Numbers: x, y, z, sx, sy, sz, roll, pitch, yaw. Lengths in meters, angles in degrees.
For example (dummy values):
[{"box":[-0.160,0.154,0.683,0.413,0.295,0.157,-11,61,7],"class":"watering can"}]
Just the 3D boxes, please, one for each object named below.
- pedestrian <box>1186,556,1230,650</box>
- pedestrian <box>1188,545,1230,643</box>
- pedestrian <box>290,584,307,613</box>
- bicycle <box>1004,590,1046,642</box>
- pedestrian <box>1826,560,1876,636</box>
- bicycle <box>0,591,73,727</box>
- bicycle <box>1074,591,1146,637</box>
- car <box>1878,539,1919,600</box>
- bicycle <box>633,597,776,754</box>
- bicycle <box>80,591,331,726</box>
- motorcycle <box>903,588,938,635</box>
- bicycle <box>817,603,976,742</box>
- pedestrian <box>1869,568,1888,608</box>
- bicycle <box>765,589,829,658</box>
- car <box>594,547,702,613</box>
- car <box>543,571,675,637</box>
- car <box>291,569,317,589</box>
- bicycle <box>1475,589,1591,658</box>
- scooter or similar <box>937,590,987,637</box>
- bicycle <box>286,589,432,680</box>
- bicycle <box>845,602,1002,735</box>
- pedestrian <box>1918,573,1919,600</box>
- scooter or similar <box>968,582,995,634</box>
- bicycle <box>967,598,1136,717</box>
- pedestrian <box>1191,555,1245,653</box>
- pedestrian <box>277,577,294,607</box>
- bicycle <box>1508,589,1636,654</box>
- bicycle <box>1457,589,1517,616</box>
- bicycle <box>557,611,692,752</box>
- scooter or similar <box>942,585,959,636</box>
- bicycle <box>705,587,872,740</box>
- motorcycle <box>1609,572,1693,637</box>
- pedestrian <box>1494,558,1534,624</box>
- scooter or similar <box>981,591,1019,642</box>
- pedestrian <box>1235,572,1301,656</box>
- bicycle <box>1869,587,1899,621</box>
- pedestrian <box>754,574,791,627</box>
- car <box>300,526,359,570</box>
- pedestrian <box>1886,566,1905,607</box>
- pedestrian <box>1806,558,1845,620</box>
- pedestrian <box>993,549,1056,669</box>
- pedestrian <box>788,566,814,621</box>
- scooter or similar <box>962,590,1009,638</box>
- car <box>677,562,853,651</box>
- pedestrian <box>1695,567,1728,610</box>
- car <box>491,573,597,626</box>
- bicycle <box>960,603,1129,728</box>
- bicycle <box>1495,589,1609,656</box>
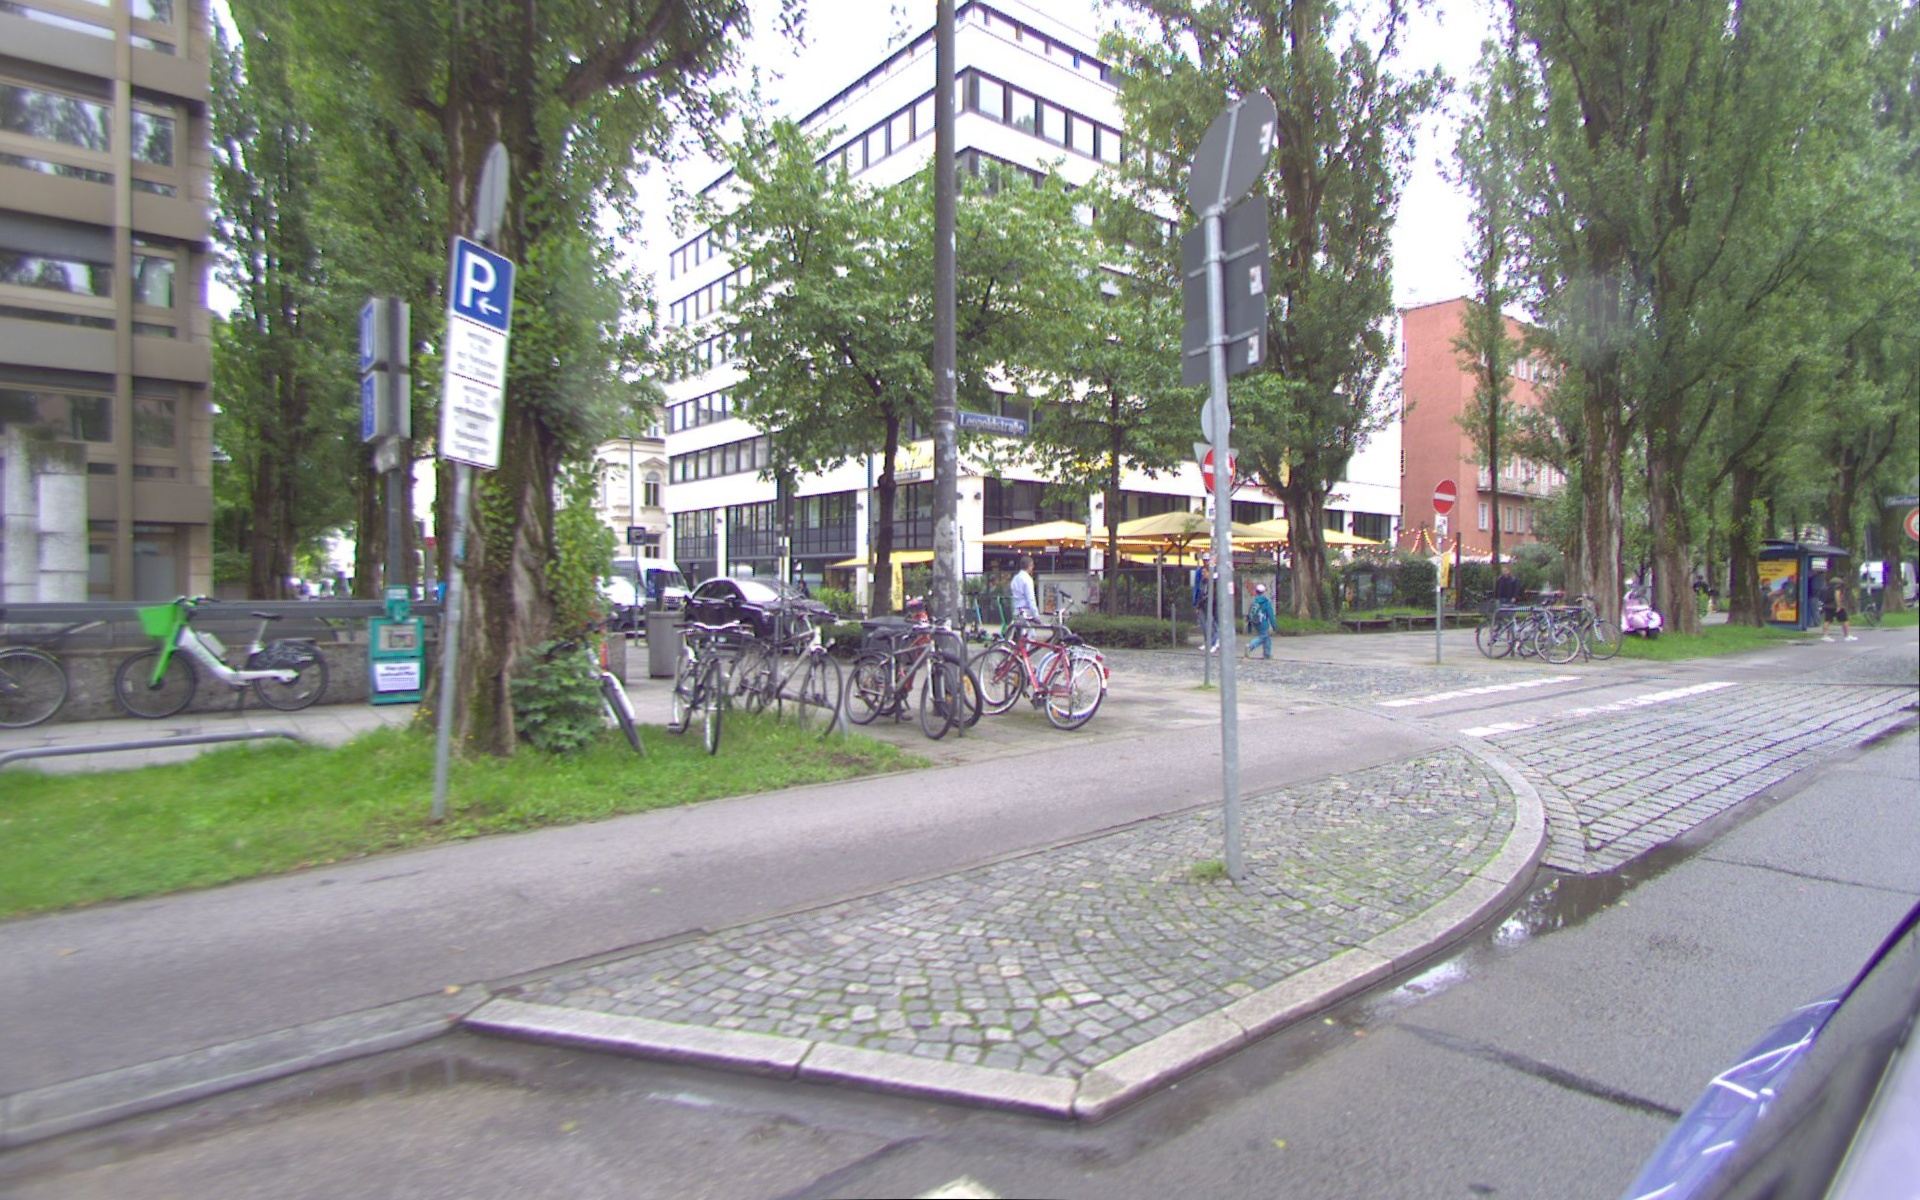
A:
[{"box":[4.763,0.051,19.413,0.696,1.749,0.639,0,1,27],"class":"pedestrian"},{"box":[5.002,-0.125,20.291,0.696,1.932,0.639,0,1,27],"class":"pedestrian"},{"box":[-36.172,-0.063,55.324,0.635,1.557,0.707,-1,-1,-43],"class":"pedestrian"},{"box":[1.545,0.358,23.714,0.547,1.157,1.752,0,1,19],"class":"bicycle"},{"box":[21.292,-0.059,24.182,0.692,1.795,0.752,-1,1,-35],"class":"pedestrian"},{"box":[-8.901,0.525,8.712,0.585,1.174,1.841,0,1,42],"class":"bicycle"},{"box":[3.519,0.318,23.910,0.544,1.035,1.760,-1,1,-41],"class":"bicycle"},{"box":[49.710,-1.580,52.687,5.896,3.055,2.196,-1,1,-41],"class":"car"},{"box":[-2.057,0.524,7.968,0.503,1.051,1.834,-1,2,-34],"class":"bicycle"},{"box":[-7.116,0.510,9.659,1.831,1.174,0.588,-1,1,-27],"class":"bicycle"},{"box":[-1.032,0.293,27.000,0.757,1.211,1.990,1,0,2],"class":"motorcycle"},{"box":[-0.624,0.592,9.156,0.467,1.063,1.876,-1,2,-37],"class":"bicycle"},{"box":[39.699,-0.532,43.730,0.477,1.714,0.517,-1,1,-35],"class":"pedestrian"},{"box":[-2.931,0.386,18.033,0.466,1.151,1.878,0,1,-31],"class":"bicycle"},{"box":[-12.859,-0.794,41.451,2.030,2.522,5.839,1,0,-41],"class":"car"},{"box":[-10.104,0.051,28.933,1.985,1.721,4.665,-2,2,-41],"class":"car"},{"box":[-83.423,-2.657,128.649,2.053,2.463,5.601,-1,1,-41],"class":"car"},{"box":[9.826,0.378,17.419,0.482,1.107,1.703,-1,1,-34],"class":"bicycle"},{"box":[0.053,0.347,26.362,1.235,1.195,0.388,0,1,19],"class":"scooter or similar"},{"box":[-9.159,0.488,15.458,1.835,1.292,0.721,-1,1,-38],"class":"bicycle"},{"box":[-0.389,0.585,9.492,0.467,1.063,1.876,-1,2,-37],"class":"bicycle"},{"box":[61.417,-0.868,64.140,0.753,1.714,0.890,-1,1,-35],"class":"pedestrian"},{"box":[0.551,0.187,26.074,0.323,1.289,1.243,0,1,19],"class":"scooter or similar"},{"box":[0.888,0.539,10.340,0.468,1.063,1.872,-1,2,-44],"class":"bicycle"},{"box":[4.656,0.061,18.271,0.676,1.722,0.665,0,1,-24],"class":"pedestrian"},{"box":[-34.748,-0.404,52.162,0.525,1.549,0.540,0,1,27],"class":"pedestrian"},{"box":[11.116,0.356,18.462,0.482,1.107,1.984,-1,1,-34],"class":"bicycle"},{"box":[18.775,0.064,36.055,0.609,0.924,1.799,-1,1,-41],"class":"bicycle"},{"box":[-2.497,0.536,7.395,0.463,0.828,1.834,-1,2,-34],"class":"bicycle"},{"box":[-0.260,0.272,26.557,0.321,1.289,1.359,0,0,-6],"class":"scooter or similar"},{"box":[-1.494,0.464,8.533,0.504,1.119,1.929,-1,2,-39],"class":"bicycle"},{"box":[15.184,0.077,22.296,0.619,1.209,1.990,0,6,7],"class":"motorcycle"},{"box":[14.699,-0.237,26.864,0.634,1.714,0.736,-1,1,-35],"class":"pedestrian"},{"box":[0.971,0.376,24.262,0.366,1.158,1.417,0,1,26],"class":"scooter or similar"},{"box":[5.453,0.233,17.938,0.755,1.437,0.820,0,1,-24],"class":"pedestrian"},{"box":[29.865,0.120,32.699,1.733,1.035,0.553,-1,1,-43],"class":"bicycle"},{"box":[-6.183,0.013,33.364,0.912,1.727,0.799,-1,1,-37],"class":"pedestrian"},{"box":[-37.687,-3.058,60.452,2.054,2.462,5.601,-3,2,-41],"class":"car"},{"box":[40.055,-0.579,43.327,0.477,1.714,0.517,-1,1,-35],"class":"pedestrian"},{"box":[26.660,-0.342,31.165,0.887,1.866,0.756,0,1,43],"class":"pedestrian"},{"box":[0.969,0.125,15.242,0.658,1.746,0.712,-1,1,-39],"class":"pedestrian"},{"box":[-5.208,-0.215,33.148,0.570,1.770,0.644,0,1,27],"class":"pedestrian"},{"box":[0.636,0.341,25.037,1.229,1.158,0.327,-1,1,-39],"class":"scooter or similar"},{"box":[-4.299,0.082,21.919,1.893,1.721,4.195,-2,2,-41],"class":"car"},{"box":[30.087,-0.457,40.511,0.753,1.714,0.890,-1,1,-35],"class":"pedestrian"},{"box":[-13.753,-0.058,33.321,1.966,1.602,4.335,-2,2,-41],"class":"car"},{"box":[0.758,0.573,9.664,0.467,1.064,1.875,-1,1,-37],"class":"bicycle"},{"box":[10.400,0.369,17.828,0.482,1.107,1.703,-1,1,-34],"class":"bicycle"}]
